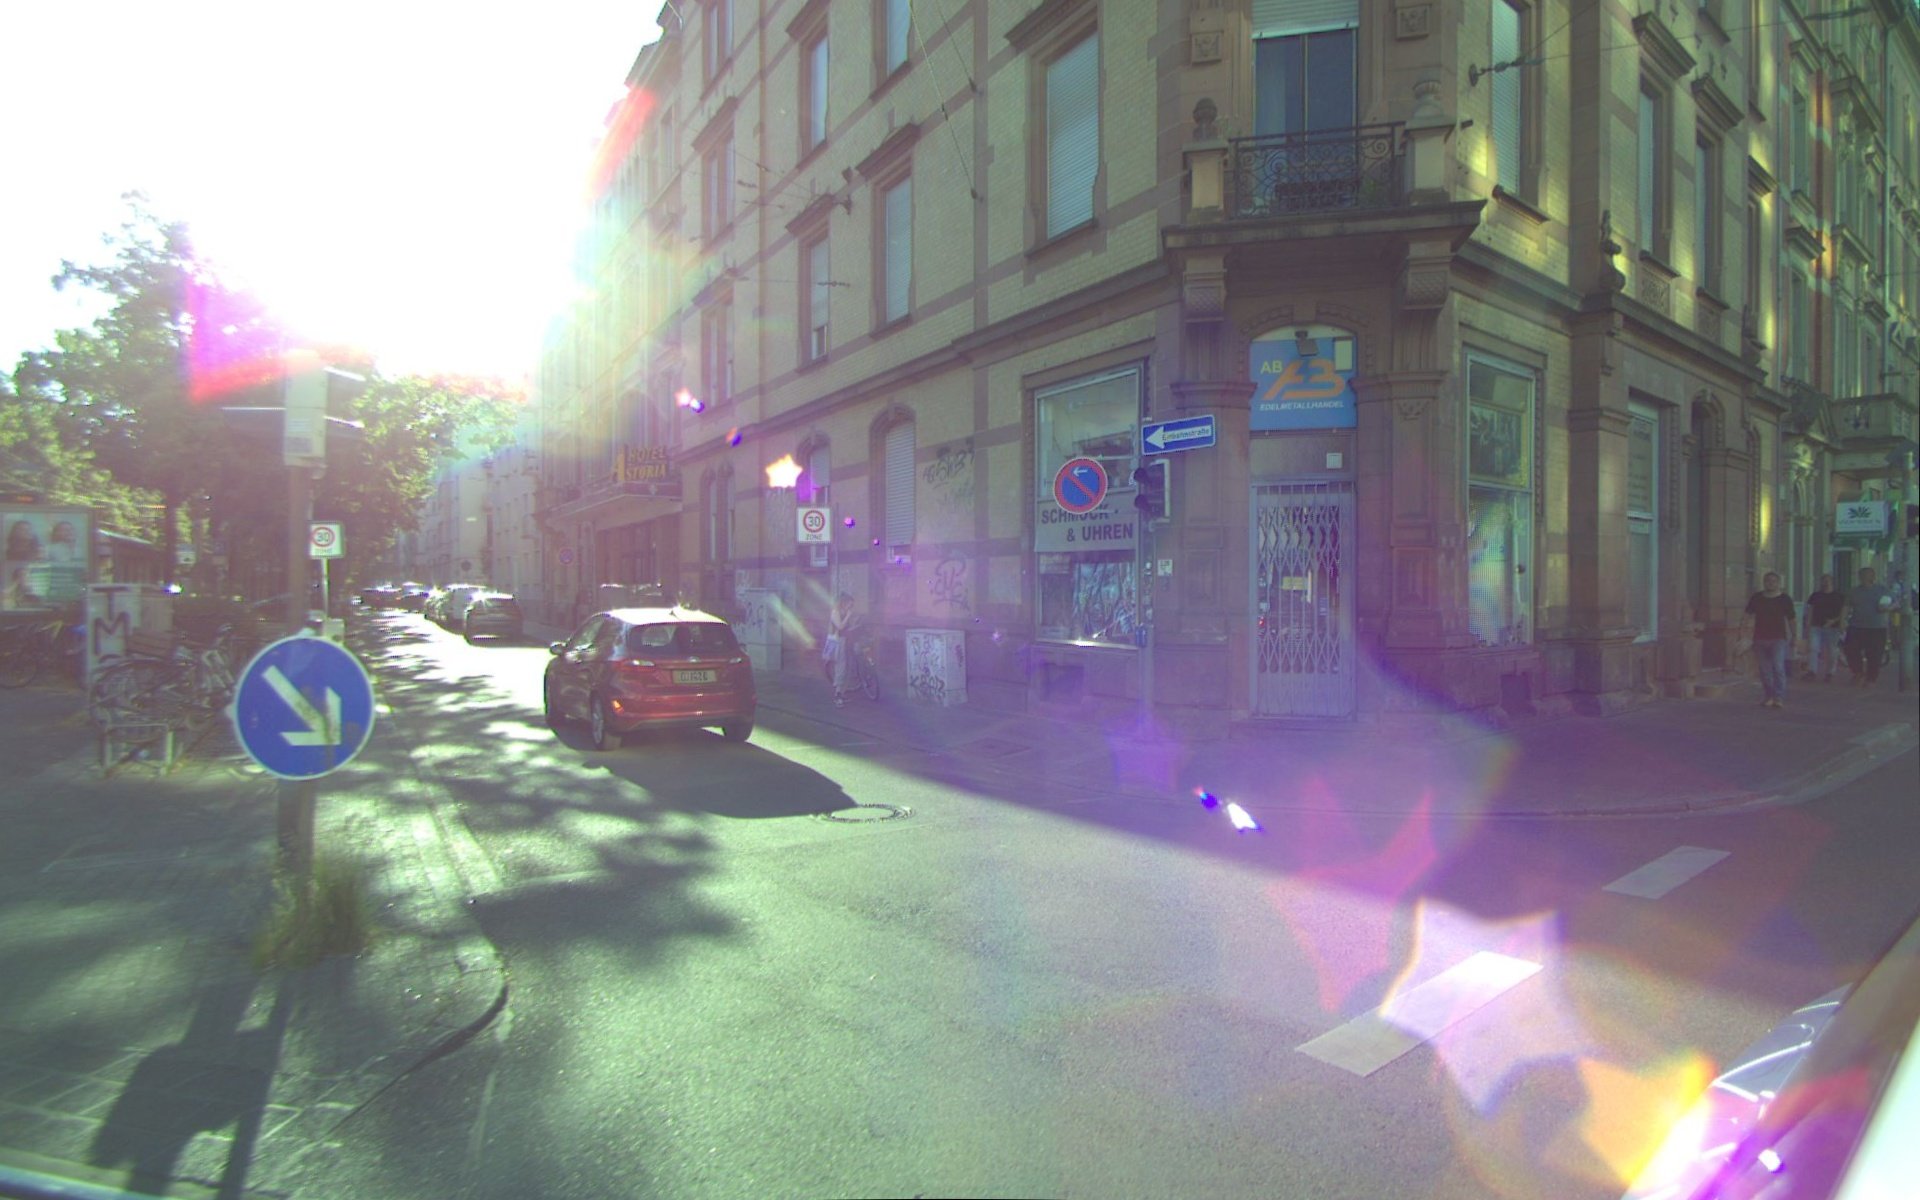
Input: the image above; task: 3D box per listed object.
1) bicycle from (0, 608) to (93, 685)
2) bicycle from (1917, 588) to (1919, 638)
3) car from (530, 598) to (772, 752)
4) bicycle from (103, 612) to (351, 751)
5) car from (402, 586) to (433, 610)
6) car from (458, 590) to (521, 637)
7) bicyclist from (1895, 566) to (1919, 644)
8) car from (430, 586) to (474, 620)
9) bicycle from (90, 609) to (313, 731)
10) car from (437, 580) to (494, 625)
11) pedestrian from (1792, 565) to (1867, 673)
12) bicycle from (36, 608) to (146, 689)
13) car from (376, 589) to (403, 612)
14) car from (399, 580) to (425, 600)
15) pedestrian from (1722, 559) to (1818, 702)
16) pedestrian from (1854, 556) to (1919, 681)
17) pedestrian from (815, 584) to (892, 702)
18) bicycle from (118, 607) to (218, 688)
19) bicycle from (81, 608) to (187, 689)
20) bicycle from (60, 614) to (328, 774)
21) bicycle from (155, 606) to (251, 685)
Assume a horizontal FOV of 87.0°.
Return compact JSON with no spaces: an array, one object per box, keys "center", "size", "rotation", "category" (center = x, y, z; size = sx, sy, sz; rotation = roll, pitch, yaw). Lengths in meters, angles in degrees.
[{"center":[-14.742,0.717,15.974],"size":[0.491,1.121,1.799],"rotation":[0,1,3],"category":"bicycle"},{"center":[24.316,0.343,24.801],"size":[0.661,1.269,1.879],"rotation":[0,1,25],"category":"bicycle"},{"center":[-3.734,0.732,11.862],"size":[1.665,1.514,3.579],"rotation":[0,0,-36],"category":"car"},{"center":[-7.377,0.802,10.302],"size":[1.930,1.279,0.756],"rotation":[3,-1,-35],"category":"bicycle"},{"center":[-35.506,-0.106,66.234],"size":[1.664,1.534,3.583],"rotation":[0,0,-30],"category":"car"},{"center":[-16.404,0.429,35.215],"size":[1.663,1.534,3.583],"rotation":[2,0,-30],"category":"car"},{"center":[23.718,0.122,25.067],"size":[0.593,1.906,0.738],"rotation":[0,1,25],"category":"bicyclist"},{"center":[-24.849,0.134,49.424],"size":[1.663,1.534,3.583],"rotation":[2,0,-30],"category":"car"},{"center":[-8.584,0.780,11.558],"size":[1.930,1.279,0.756],"rotation":[3,-1,-35],"category":"bicycle"},{"center":[-21.929,0.096,44.801],"size":[1.937,1.841,3.986],"rotation":[2,0,-30],"category":"car"},{"center":[14.507,0.295,16.889],"size":[0.741,1.744,0.777],"rotation":[0,2,-39],"category":"pedestrian"},{"center":[-13.335,0.710,15.590],"size":[0.490,1.121,1.804],"rotation":[-1,1,-12],"category":"bicycle"},{"center":[-40.504,0.032,71.816],"size":[1.664,1.534,3.583],"rotation":[0,0,-30],"category":"car"},{"center":[-43.636,-0.801,80.565],"size":[1.663,1.534,3.583],"rotation":[2,0,-30],"category":"car"},{"center":[10.319,0.353,12.897],"size":[0.741,1.744,0.777],"rotation":[0,2,-39],"category":"pedestrian"},{"center":[14.828,0.262,16.041],"size":[0.741,1.918,0.824],"rotation":[0,2,-39],"category":"pedestrian"},{"center":[-1.543,0.597,14.606],"size":[0.749,1.589,0.745],"rotation":[-5,2,-32],"category":"pedestrian"},{"center":[-12.241,0.701,15.700],"size":[0.490,1.121,1.804],"rotation":[-1,1,-12],"category":"bicycle"},{"center":[-12.690,0.705,15.609],"size":[0.490,1.121,1.804],"rotation":[-1,1,-12],"category":"bicycle"},{"center":[-6.747,0.795,9.038],"size":[1.800,1.279,0.756],"rotation":[2,-1,-35],"category":"bicycle"},{"center":[-11.796,0.678,15.834],"size":[0.490,1.121,1.804],"rotation":[-1,1,-12],"category":"bicycle"}]
